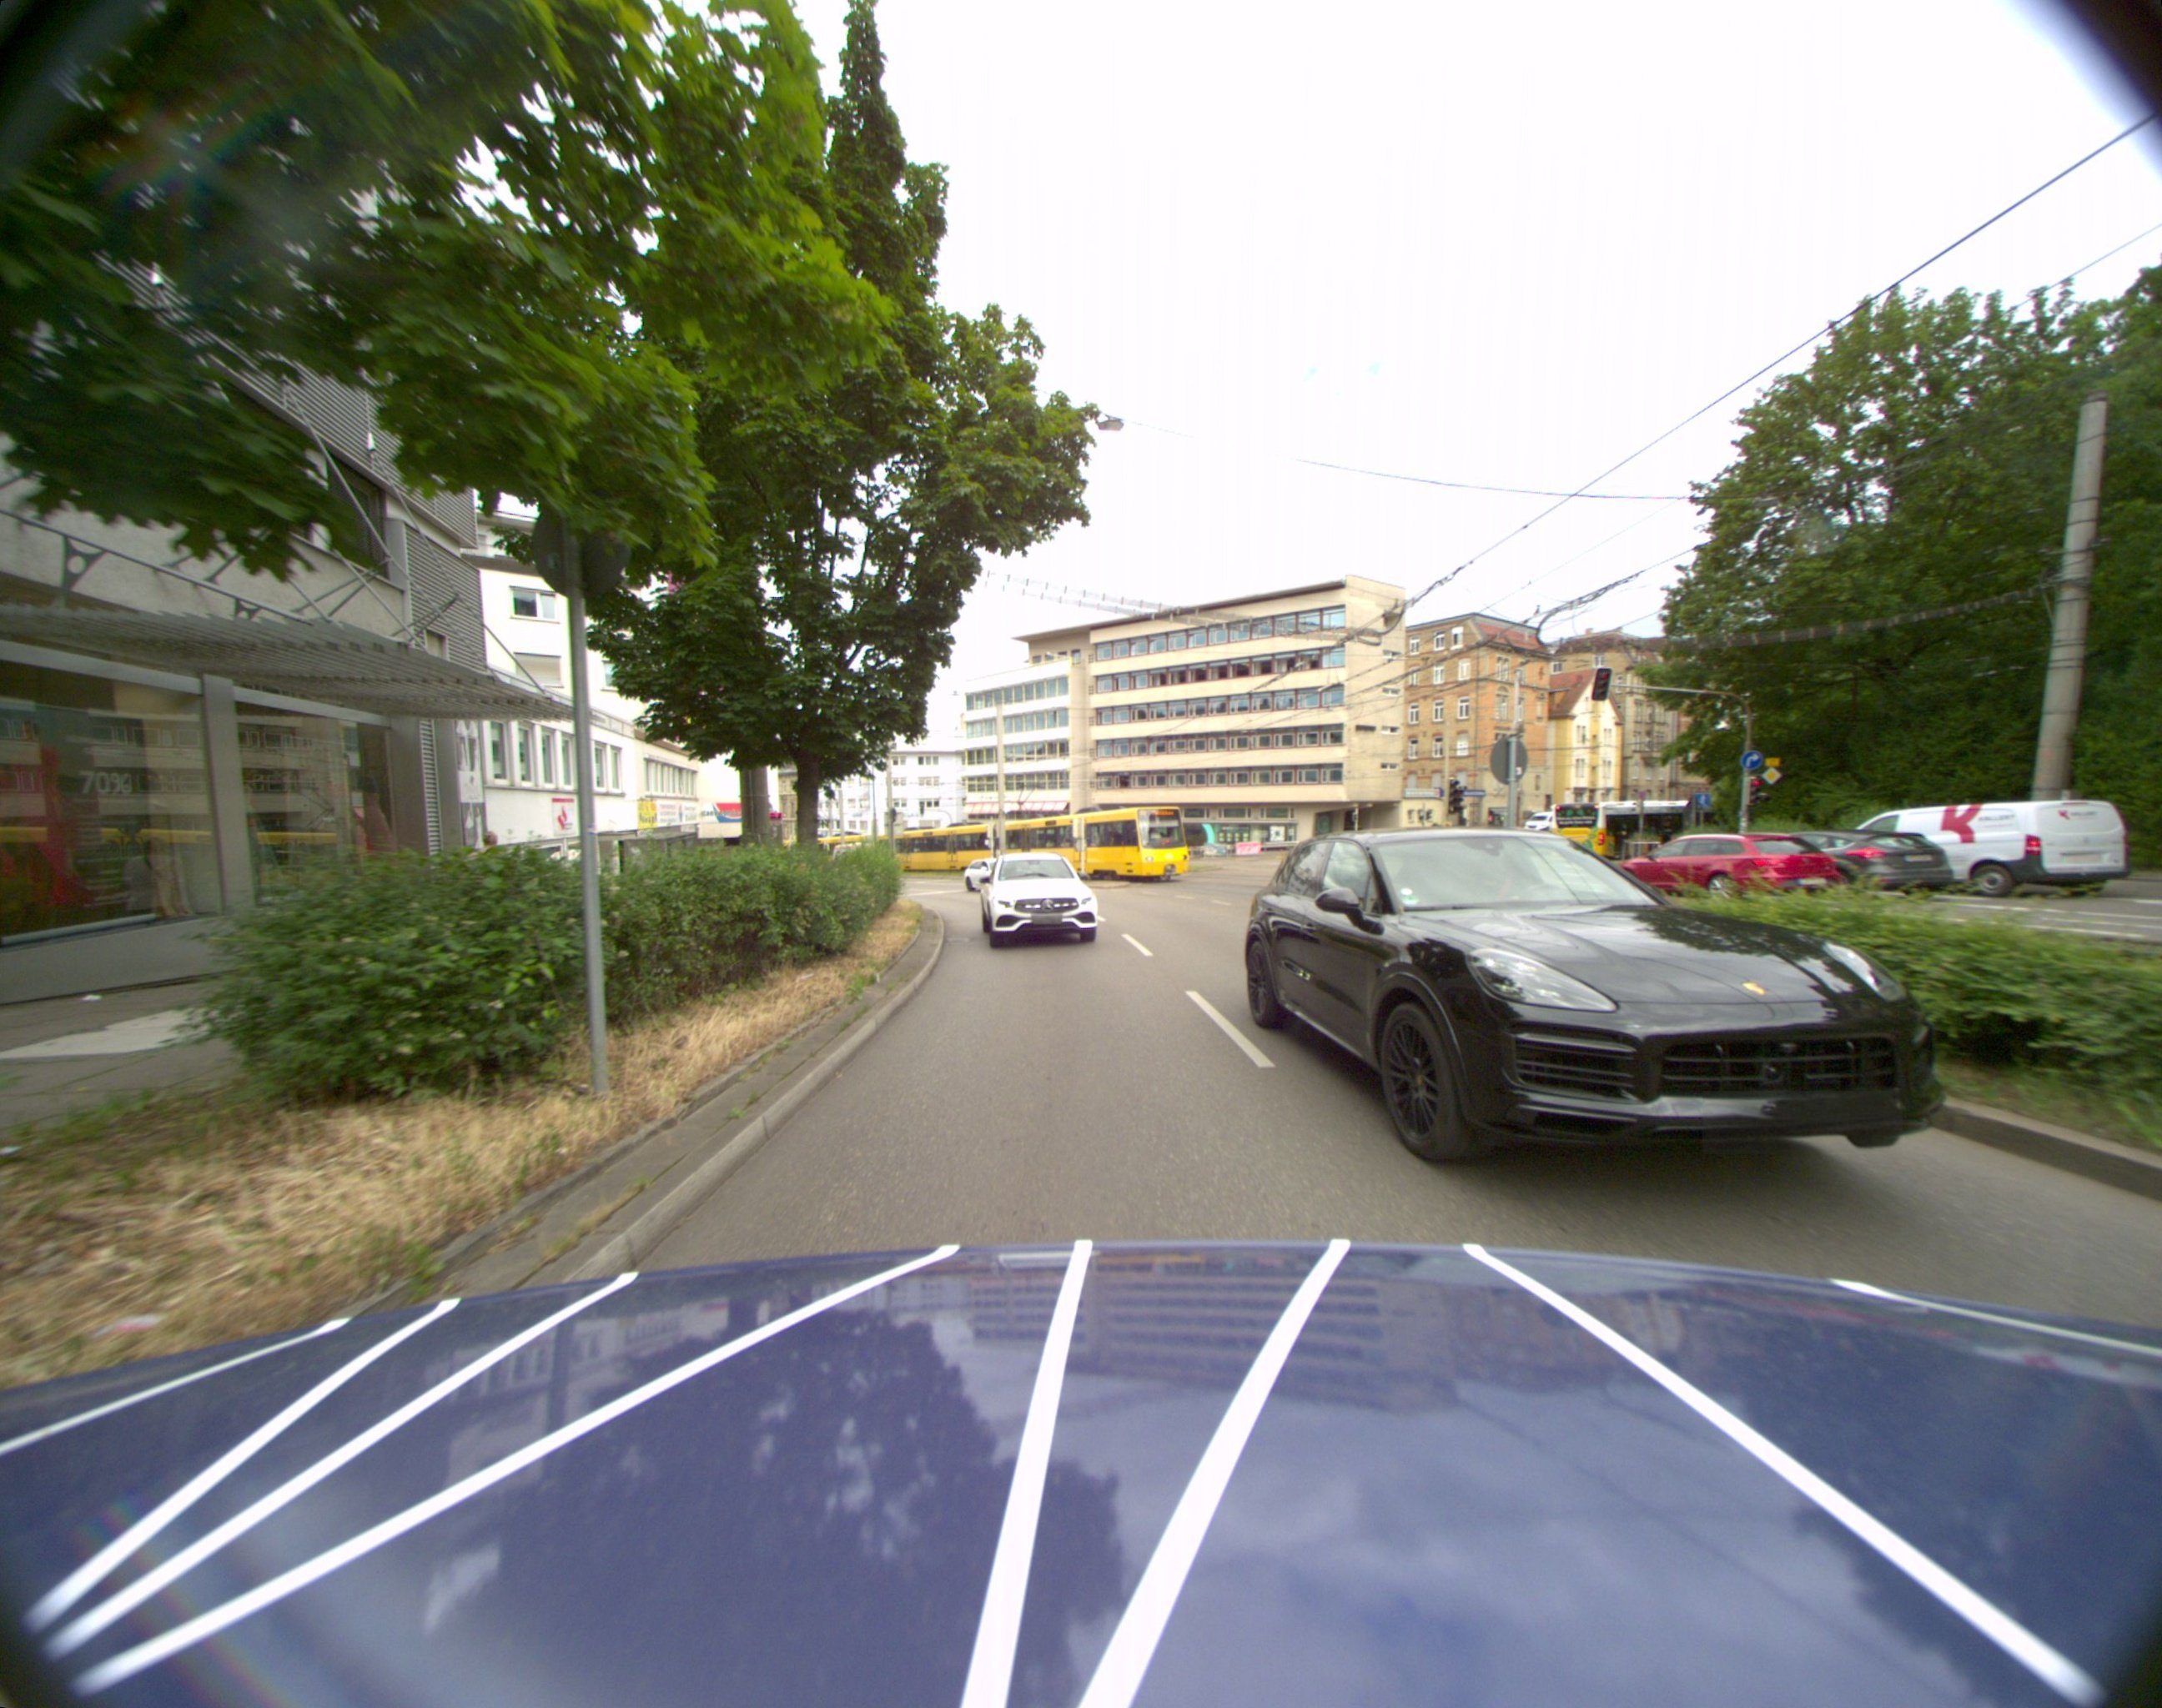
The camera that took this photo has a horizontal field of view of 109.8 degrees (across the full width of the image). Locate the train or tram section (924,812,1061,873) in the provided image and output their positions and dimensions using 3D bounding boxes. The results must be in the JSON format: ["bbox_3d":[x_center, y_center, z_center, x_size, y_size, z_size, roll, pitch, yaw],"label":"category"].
[{"bbox_3d":[-6.627,-0.728,53.035,2.895,3.643,14.192,-4,2,-35],"label":"train or tram section"}]

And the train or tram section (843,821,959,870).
[{"bbox_3d":[-15.534,-0.630,64.171,2.895,3.644,14.189,-5,3,-42],"label":"train or tram section"}]

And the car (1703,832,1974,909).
[{"bbox_3d":[16.368,0.256,16.827,1.746,1.419,4.405,-2,2,3],"label":"car"}]

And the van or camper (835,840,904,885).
[{"bbox_3d":[-13.729,0.490,48.969,2.213,2.544,6.357,-6,3,-34],"label":"van or camper"}]

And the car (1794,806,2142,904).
[{"bbox_3d":[19.103,-0.025,16.865,1.998,1.839,4.993,-1,1,2],"label":"car"}]

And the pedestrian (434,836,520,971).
[{"bbox_3d":[-8.361,0.667,10.546,0.676,1.784,0.608,-3,1,-18],"label":"pedestrian"}]

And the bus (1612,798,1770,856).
[{"bbox_3d":[36.264,-1.661,44.963,11.378,3.026,3.316,-3,1,-30],"label":"bus"}]

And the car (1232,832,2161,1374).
[{"bbox_3d":[2.493,0.734,4.820,2.033,1.675,4.779,-2,2,-1],"label":"car"}]

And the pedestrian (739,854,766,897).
[{"bbox_3d":[-14.488,0.925,33.530,0.836,1.800,1.149,-3,2,-13],"label":"pedestrian"}]

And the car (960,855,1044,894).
[{"bbox_3d":[-3.605,0.868,33.941,1.901,1.467,4.520,-5,3,-31],"label":"car"}]

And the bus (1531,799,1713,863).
[{"bbox_3d":[29.414,-1.324,41.095,11.564,3.012,3.382,-3,1,-29],"label":"bus"}]

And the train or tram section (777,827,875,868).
[{"bbox_3d":[-25.254,-0.600,74.470,2.937,3.540,14.188,-7,5,-44],"label":"train or tram section"}]

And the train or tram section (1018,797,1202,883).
[{"bbox_3d":[0.833,-0.658,40.201,2.894,3.643,14.443,-4,2,-27],"label":"train or tram section"}]

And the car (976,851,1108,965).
[{"bbox_3d":[-0.937,0.856,14.716,1.936,1.623,4.768,-4,2,-9],"label":"car"}]

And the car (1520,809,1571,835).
[{"bbox_3d":[41.557,-2.832,67.942,4.006,2.000,1.997,1,-6,-29],"label":"car"}]

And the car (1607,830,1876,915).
[{"bbox_3d":[13.980,0.279,16.526,1.999,1.510,4.404,-2,2,0],"label":"car"}]
